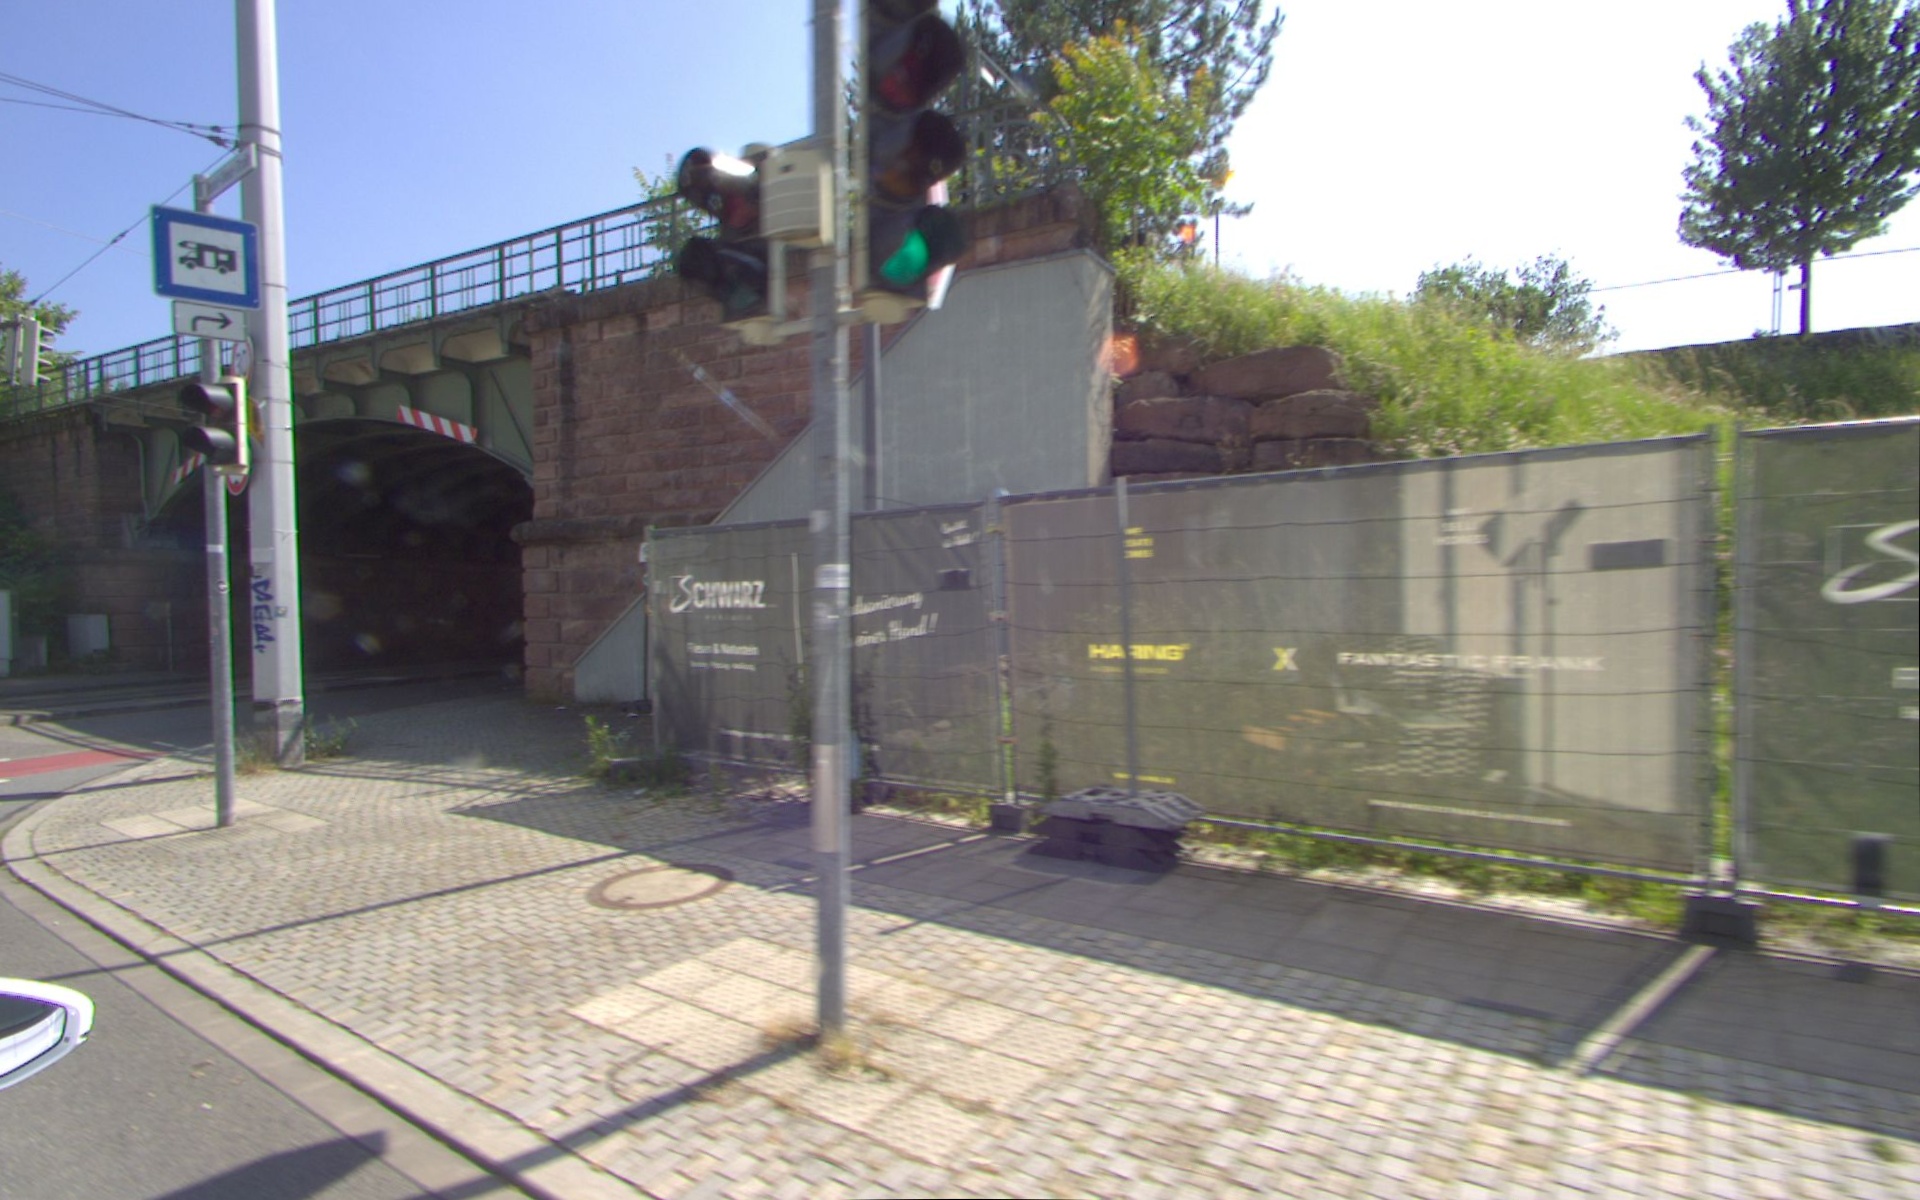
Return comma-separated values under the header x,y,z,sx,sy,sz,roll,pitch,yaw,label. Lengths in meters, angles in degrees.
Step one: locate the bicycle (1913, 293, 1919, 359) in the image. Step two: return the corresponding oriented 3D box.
x,y,z,sx,sy,sz,roll,pitch,yaw,label
19.940,-5.493,19.257,2.140,1.229,0.934,-1,-1,27,bicycle
